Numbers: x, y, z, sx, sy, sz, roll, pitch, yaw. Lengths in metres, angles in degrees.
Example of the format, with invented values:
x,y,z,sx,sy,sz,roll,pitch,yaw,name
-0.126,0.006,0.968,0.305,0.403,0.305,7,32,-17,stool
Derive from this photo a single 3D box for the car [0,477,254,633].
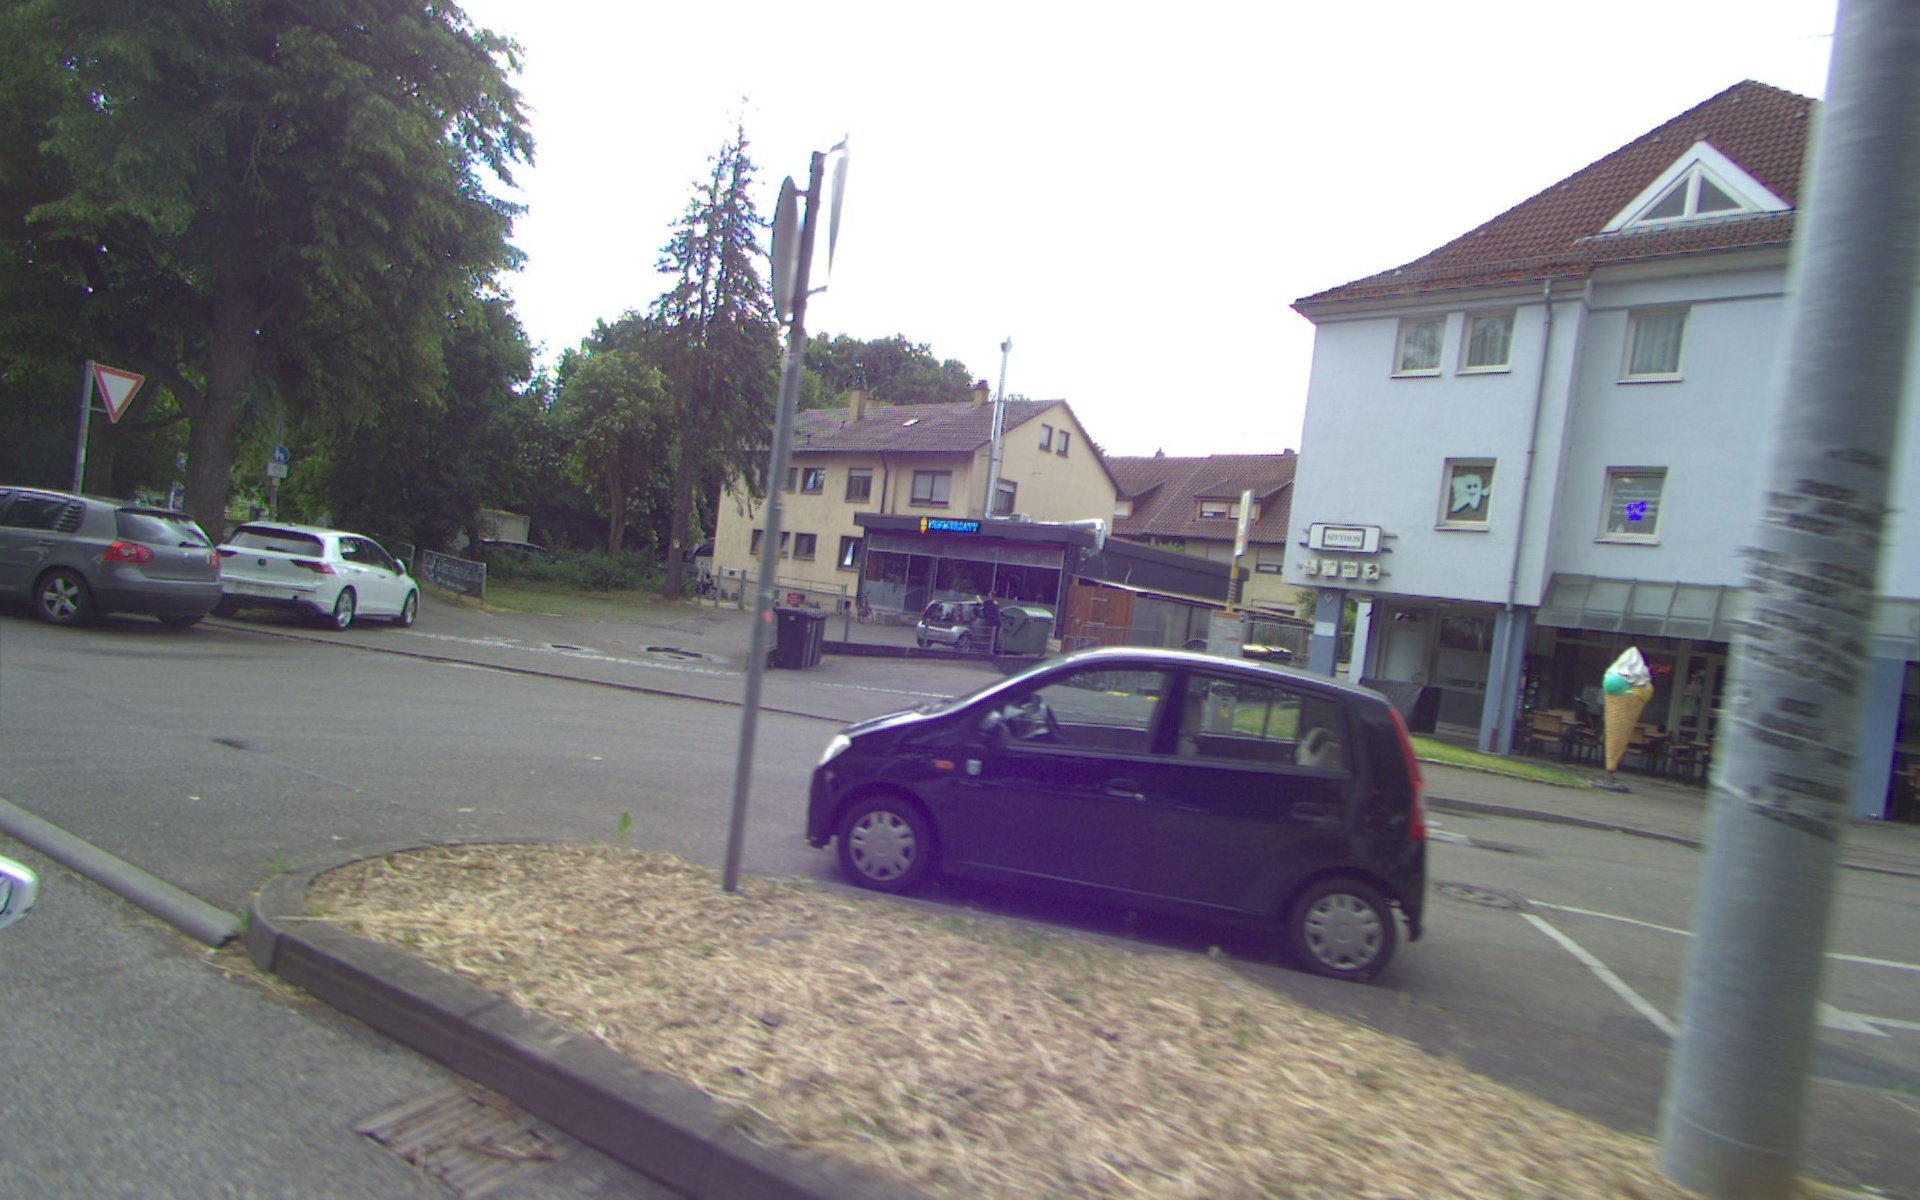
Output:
x,y,z,sx,sy,sz,roll,pitch,yaw,name
-11.112,-0.659,12.017,4.037,1.446,1.733,9,1,2,car

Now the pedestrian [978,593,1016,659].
x,y,z,sx,sy,sz,roll,pitch,yaw,name
1.042,0.726,28.204,0.602,1.751,0.686,7,1,37,pedestrian

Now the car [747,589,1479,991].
x,y,z,sx,sy,sz,roll,pitch,yaw,name
0.778,0.904,5.756,3.428,1.422,1.574,8,1,10,car

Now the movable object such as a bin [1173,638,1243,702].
x,y,z,sx,sy,sz,roll,pitch,yaw,name
6.239,1.758,25.282,1.210,1.434,1.081,6,1,-43,movable object such as a bin

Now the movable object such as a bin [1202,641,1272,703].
x,y,z,sx,sy,sz,roll,pitch,yaw,name
7.214,1.874,26.215,1.210,1.413,1.147,6,1,-43,movable object such as a bin

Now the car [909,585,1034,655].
x,y,z,sx,sy,sz,roll,pitch,yaw,name
0.371,0.592,29.031,1.603,1.651,3.405,7,1,44,car

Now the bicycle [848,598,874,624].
x,y,z,sx,sy,sz,roll,pitch,yaw,name
-3.644,0.411,37.053,0.405,0.887,1.966,7,1,8,bicycle

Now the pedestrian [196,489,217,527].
x,y,z,sx,sy,sz,roll,pitch,yaw,name
-32.835,-4.004,43.834,0.509,1.550,0.768,6,1,-43,pedestrian

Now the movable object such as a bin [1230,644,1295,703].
x,y,z,sx,sy,sz,roll,pitch,yaw,name
8.155,1.985,27.112,1.210,1.413,1.081,6,1,-43,movable object such as a bin

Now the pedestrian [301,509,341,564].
x,y,z,sx,sy,sz,roll,pitch,yaw,name
-19.792,-1.952,31.162,0.731,1.571,0.683,8,2,37,pedestrian

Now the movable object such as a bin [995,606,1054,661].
x,y,z,sx,sy,sz,roll,pitch,yaw,name
1.782,0.930,27.642,0.980,1.362,1.215,7,1,38,movable object such as a bin

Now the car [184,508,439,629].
x,y,z,sx,sy,sz,roll,pitch,yaw,name
-9.841,-0.464,15.707,1.736,1.397,4.252,8,0,-11,car
